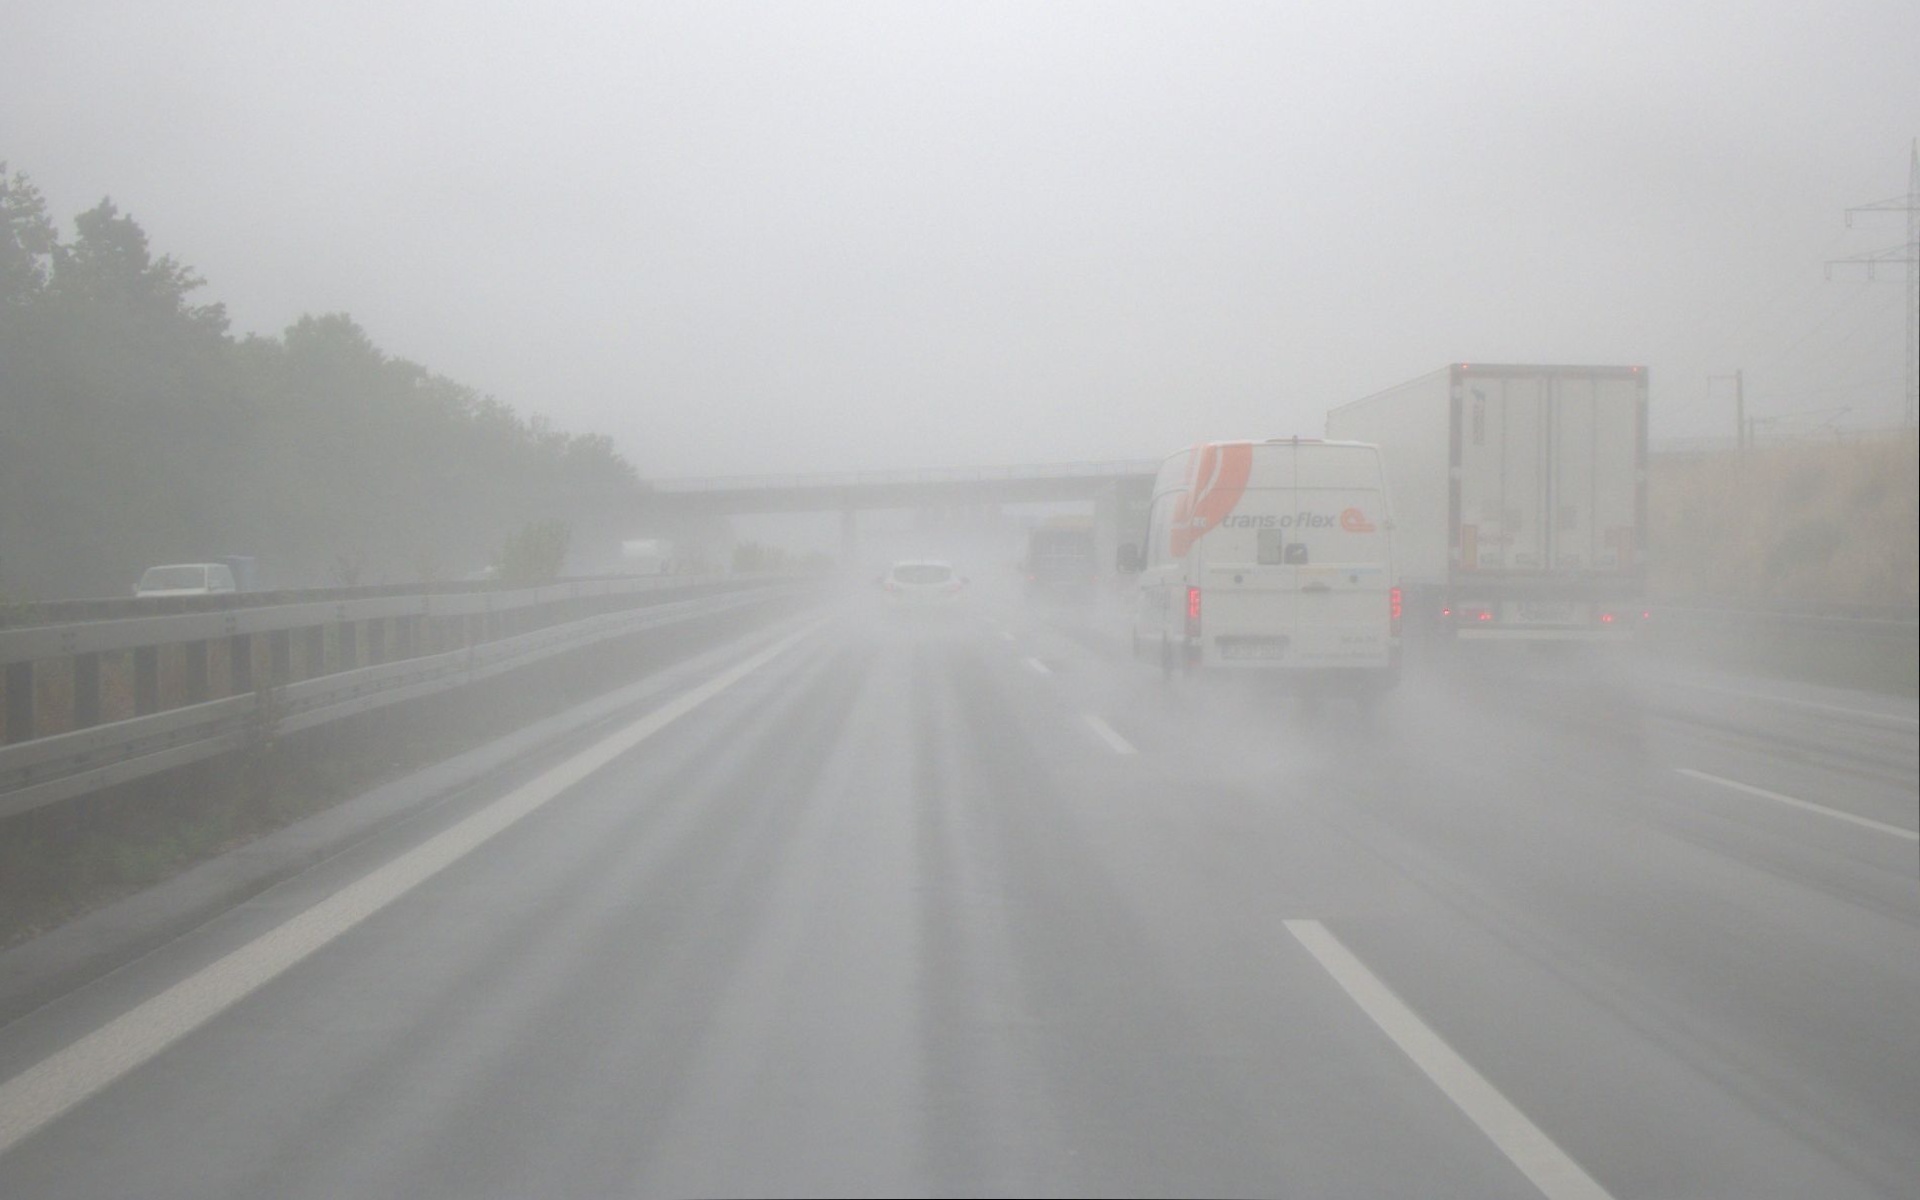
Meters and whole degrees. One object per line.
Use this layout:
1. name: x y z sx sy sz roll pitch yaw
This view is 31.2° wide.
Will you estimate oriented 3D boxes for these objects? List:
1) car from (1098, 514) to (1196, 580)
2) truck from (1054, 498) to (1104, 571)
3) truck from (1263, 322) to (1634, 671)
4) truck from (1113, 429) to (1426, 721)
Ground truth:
1. car: 5.979 -1.732 110.471 2.788 2.006 4.993 1 2 -1
2. truck: 5.921 -3.284 171.327 2.109 3.504 5.248 1 2 -2
3. truck: 7.200 -1.498 53.738 3.039 4.572 16.352 1 1 -1
4. truck: 2.793 -0.304 32.430 2.419 2.484 5.560 1 2 0
